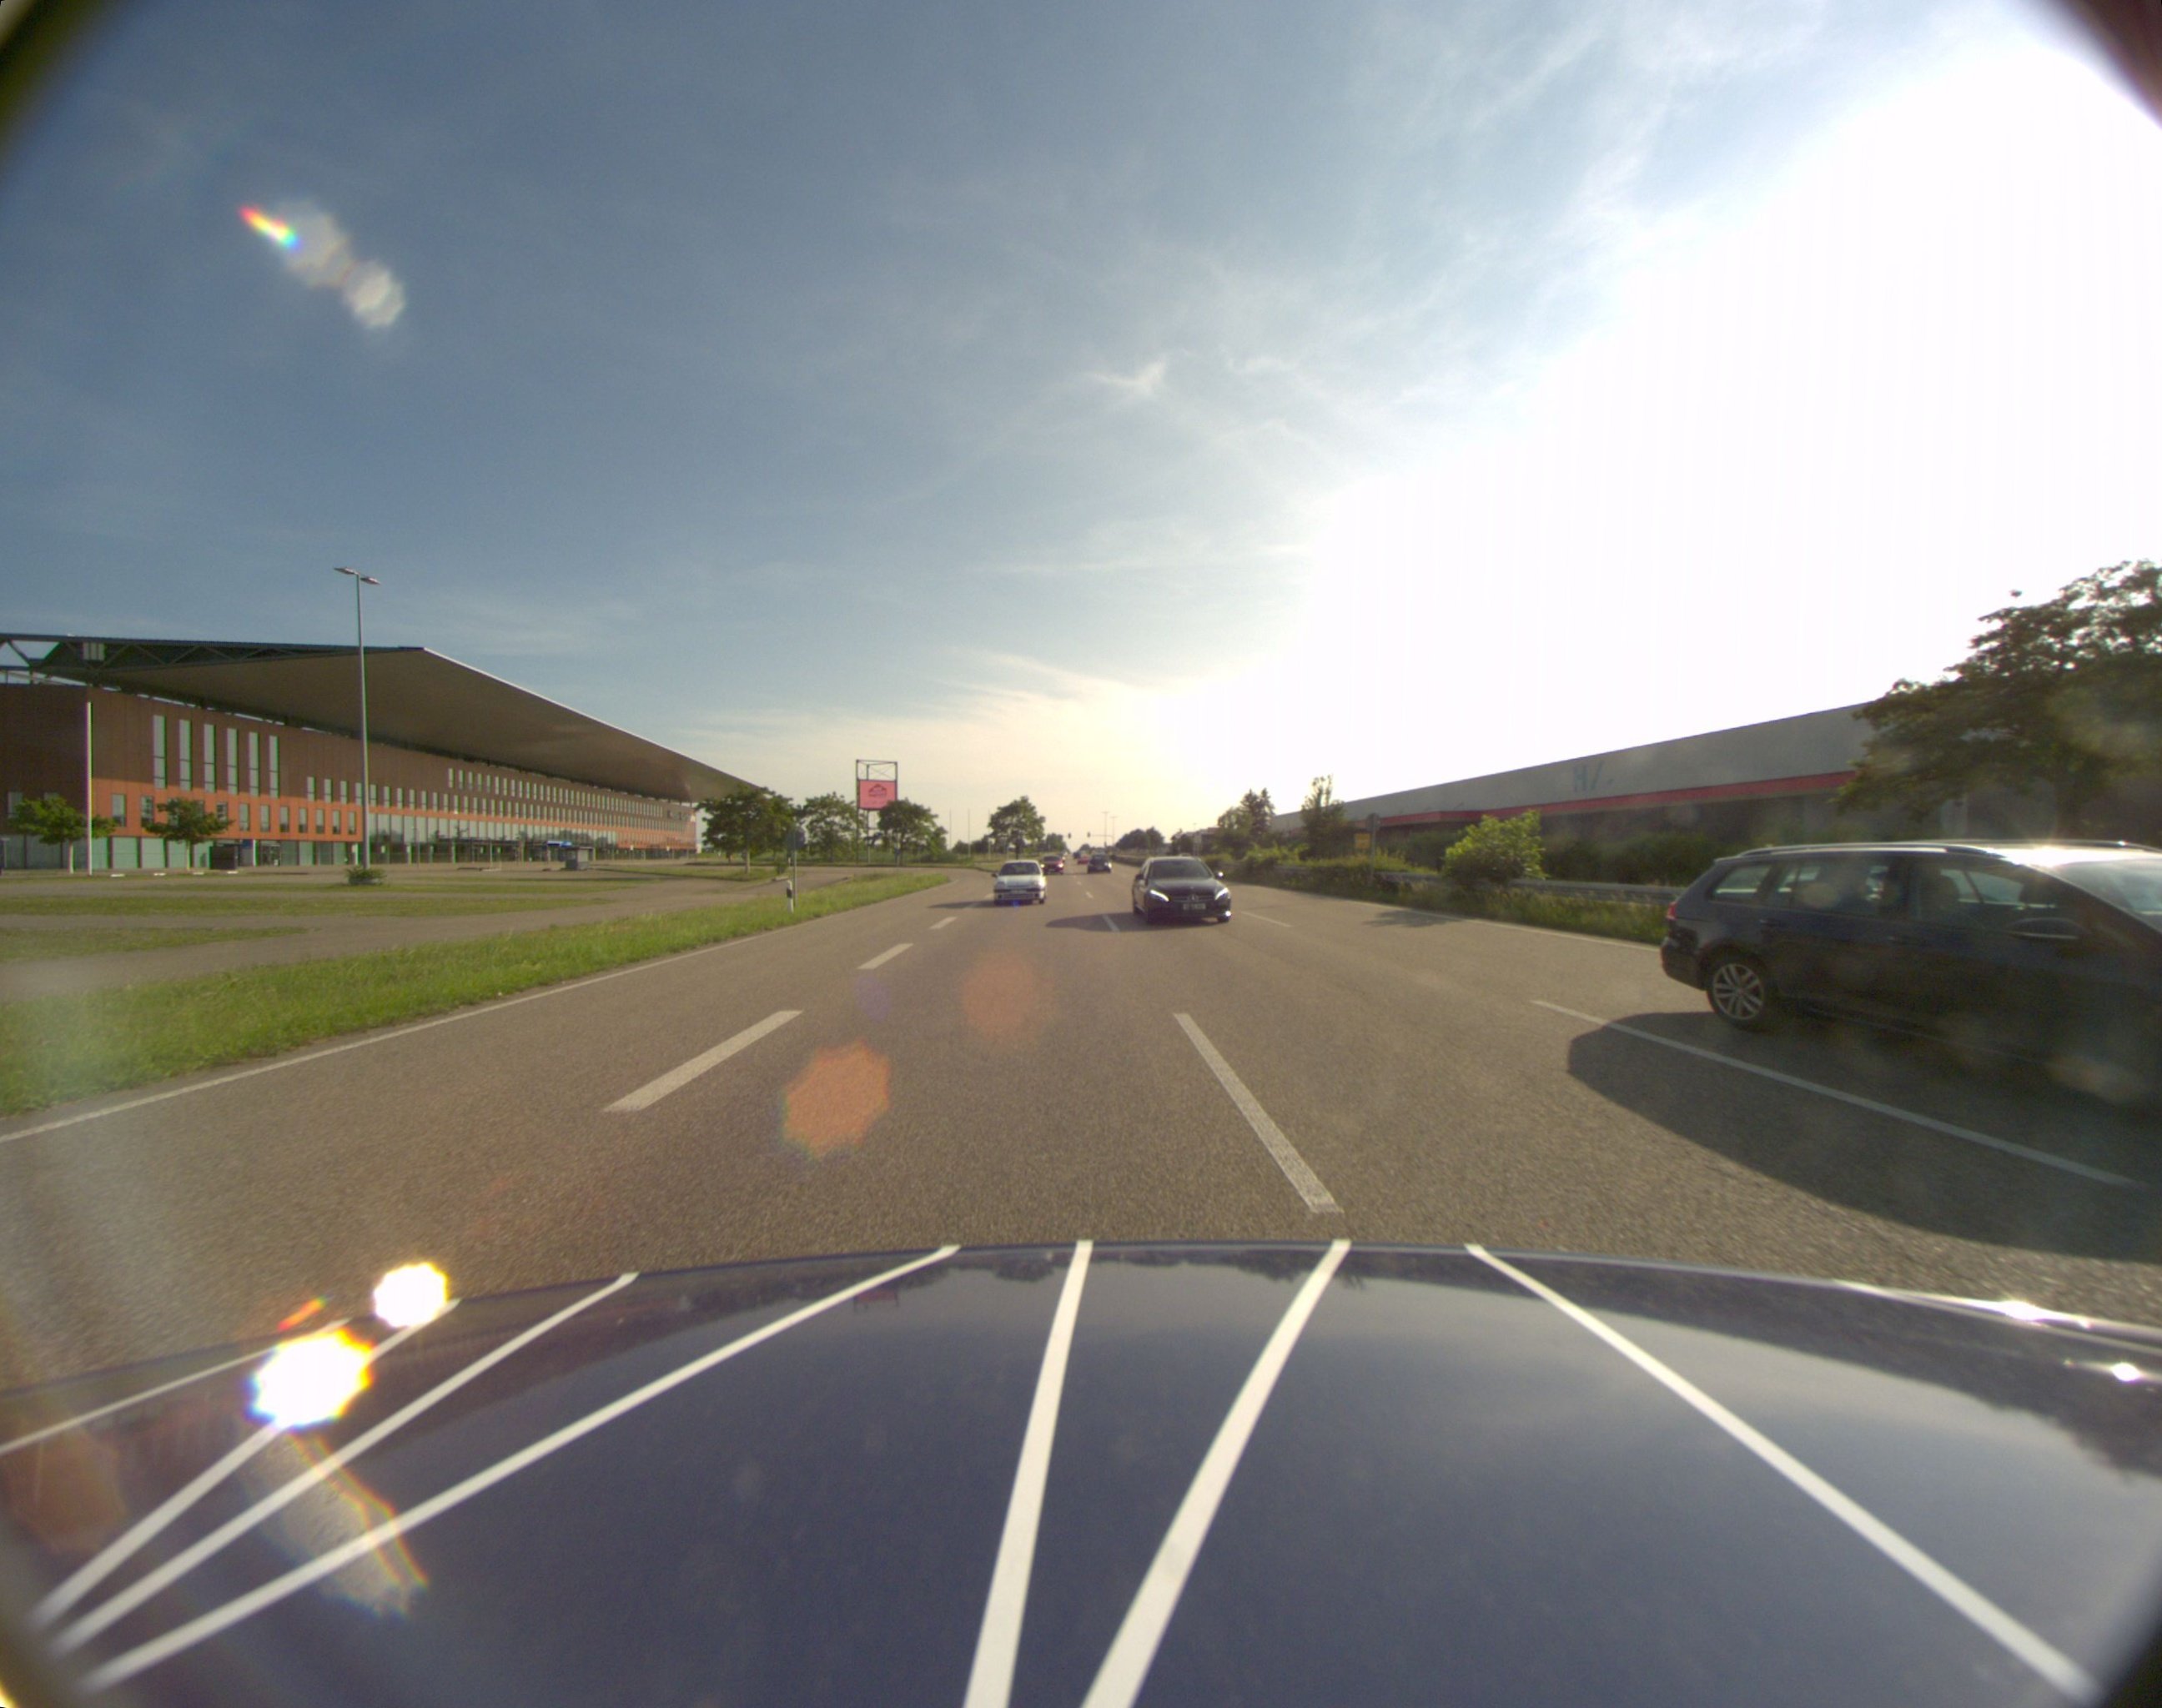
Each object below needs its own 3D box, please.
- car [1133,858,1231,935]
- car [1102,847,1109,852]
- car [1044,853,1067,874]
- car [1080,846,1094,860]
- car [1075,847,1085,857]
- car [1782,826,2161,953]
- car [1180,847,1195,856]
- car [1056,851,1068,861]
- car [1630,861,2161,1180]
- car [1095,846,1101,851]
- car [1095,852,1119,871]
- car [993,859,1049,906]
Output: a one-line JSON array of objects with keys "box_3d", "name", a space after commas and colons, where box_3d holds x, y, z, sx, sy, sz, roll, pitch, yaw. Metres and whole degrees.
[{"box_3d": [2.205, 0.873, 17.836, 1.577, 1.462, 5.021, -1, 0, 0], "name": "car"}, {"box_3d": [6.748, -1.302, 211.472, 1.711, 1.428, 3.564, -1, 0, -1], "name": "car"}, {"box_3d": [-1.985, 0.719, 60.044, 1.751, 1.512, 3.739, -1, 0, -1], "name": "car"}, {"box_3d": [0.799, -0.126, 103.485, 1.799, 1.926, 3.999, -1, 1, -1], "name": "car"}, {"box_3d": [-0.289, -0.445, 162.302, 1.999, 2.002, 3.999, -1, 1, -1], "name": "car"}, {"box_3d": [13.740, 0.414, 11.827, 1.933, 1.603, 3.999, -2, 1, -1], "name": "car"}, {"box_3d": [16.614, -0.371, 118.979, 1.784, 1.416, 3.999, 0, 1, 0], "name": "car"}, {"box_3d": [-2.884, 0.250, 116.206, 1.751, 1.512, 3.739, -1, 0, -1], "name": "car"}, {"box_3d": [5.959, 0.814, 4.697, 1.650, 1.462, 4.775, 0, 0, -1], "name": "car"}, {"box_3d": [5.341, -1.687, 236.522, 1.751, 1.512, 3.738, -1, 0, -3], "name": "car"}, {"box_3d": [2.033, 0.569, 60.455, 1.758, 1.499, 3.421, -1, 0, -1], "name": "car"}, {"box_3d": [-1.939, 0.903, 25.325, 1.578, 1.371, 3.451, -1, 0, -1], "name": "car"}]
